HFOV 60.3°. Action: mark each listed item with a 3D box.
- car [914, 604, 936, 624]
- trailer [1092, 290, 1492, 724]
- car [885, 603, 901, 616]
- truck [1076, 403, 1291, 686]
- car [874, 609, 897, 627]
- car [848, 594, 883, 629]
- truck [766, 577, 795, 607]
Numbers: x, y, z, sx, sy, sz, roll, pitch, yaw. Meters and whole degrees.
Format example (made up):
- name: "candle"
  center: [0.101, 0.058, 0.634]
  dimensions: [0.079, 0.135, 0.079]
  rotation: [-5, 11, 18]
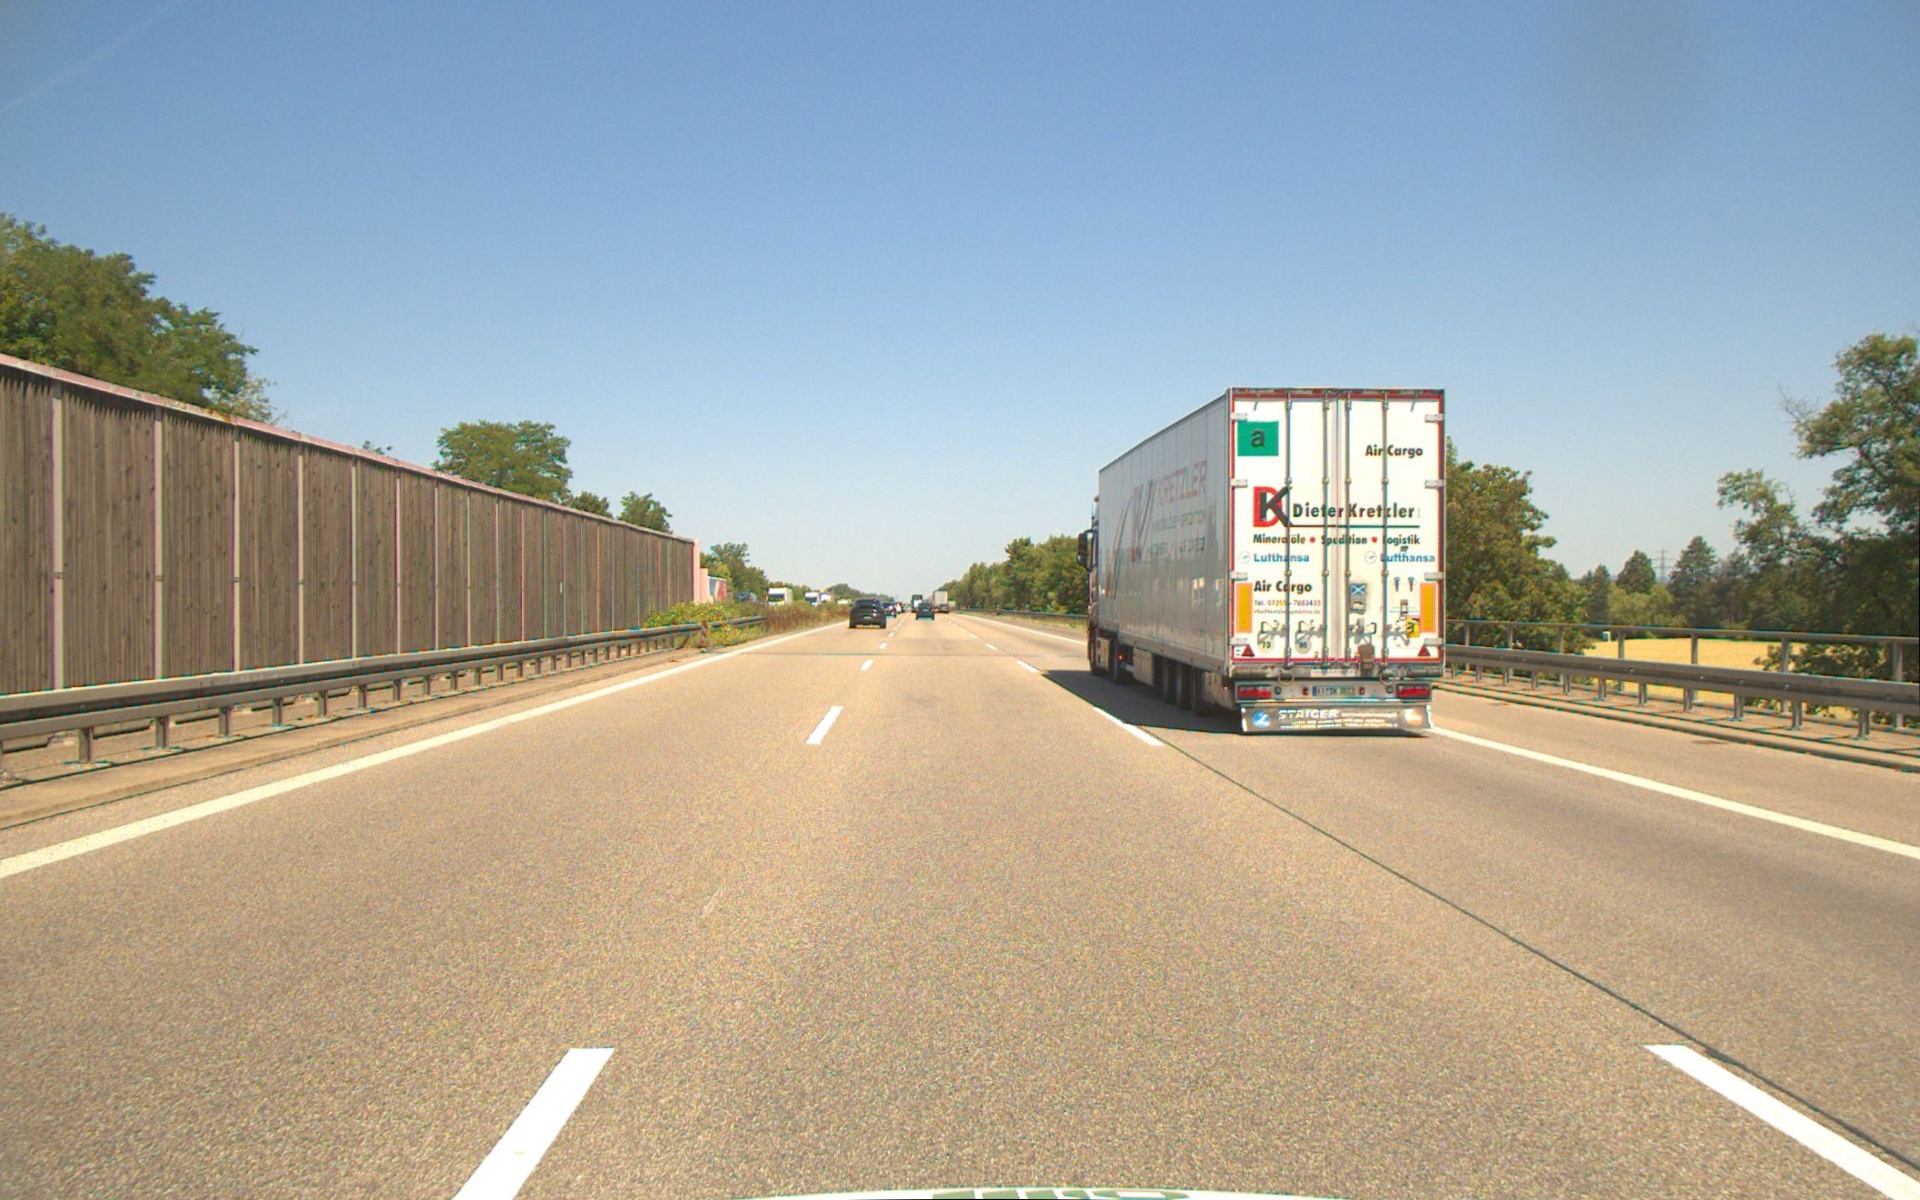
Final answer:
- name: "car"
  center: [-3.031, 1.220, 143.522]
  dimensions: [1.864, 1.611, 4.303]
  rotation: [-1, -1, -1]
- name: "trailer"
  center: [4.367, -1.114, 25.959]
  dimensions: [3.203, 4.922, 14.026]
  rotation: [1, 0, -1]
- name: "car"
  center: [-8.912, 1.264, 220.168]
  dimensions: [2.085, 1.674, 4.303]
  rotation: [-1, -1, -1]
- name: "truck"
  center: [4.213, -1.010, 32.861]
  dimensions: [3.168, 4.974, 6.970]
  rotation: [1, 0, -1]
- name: "car"
  center: [-7.197, 1.744, 160.041]
  dimensions: [2.085, 1.674, 4.303]
  rotation: [-1, -1, -1]
- name: "car"
  center: [-5.118, 0.598, 90.212]
  dimensions: [1.842, 1.823, 3.998]
  rotation: [0, 1, -3]
- name: "truck"
  center: [-26.500, -1.153, 243.933]
  dimensions: [3.509, 4.175, 7.836]
  rotation: [-1, 0, -1]
